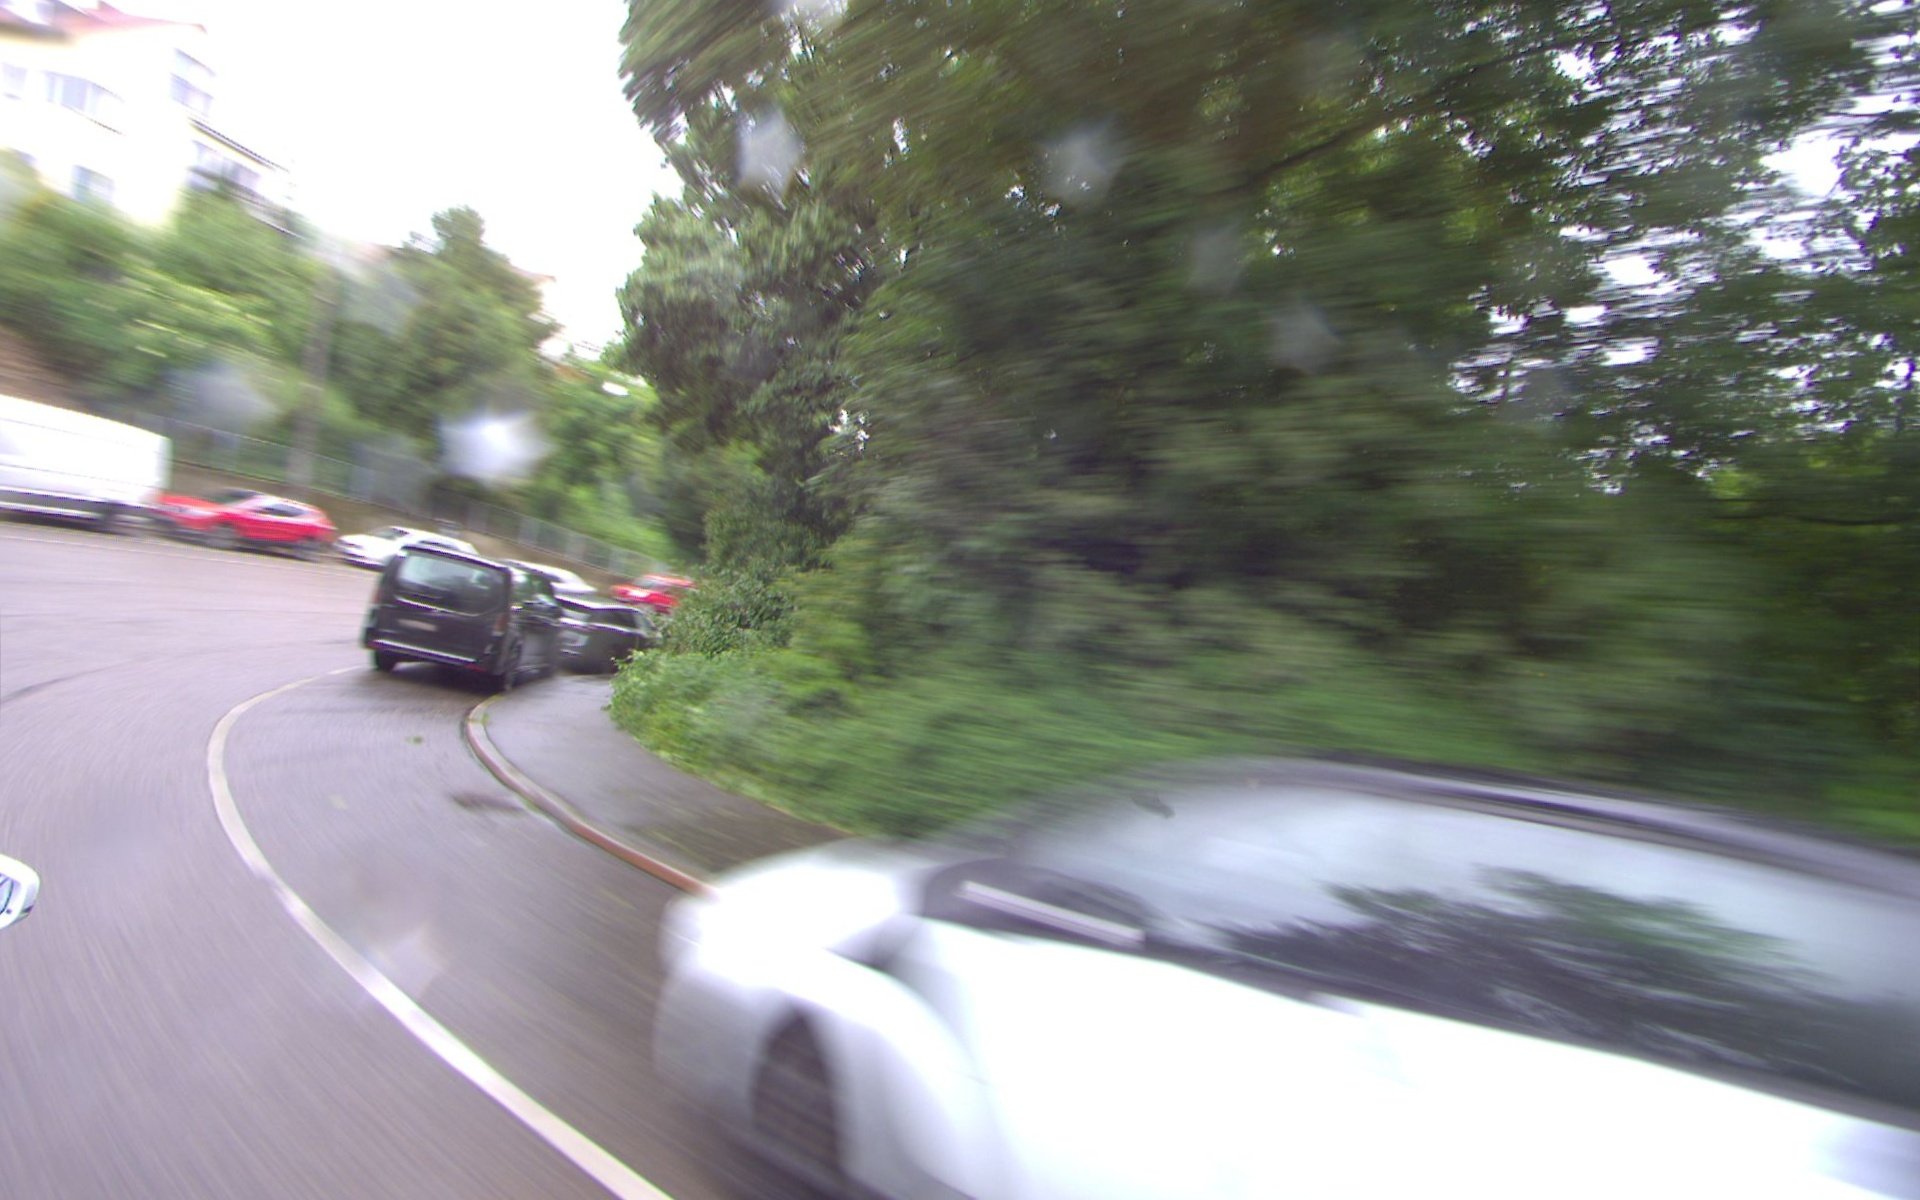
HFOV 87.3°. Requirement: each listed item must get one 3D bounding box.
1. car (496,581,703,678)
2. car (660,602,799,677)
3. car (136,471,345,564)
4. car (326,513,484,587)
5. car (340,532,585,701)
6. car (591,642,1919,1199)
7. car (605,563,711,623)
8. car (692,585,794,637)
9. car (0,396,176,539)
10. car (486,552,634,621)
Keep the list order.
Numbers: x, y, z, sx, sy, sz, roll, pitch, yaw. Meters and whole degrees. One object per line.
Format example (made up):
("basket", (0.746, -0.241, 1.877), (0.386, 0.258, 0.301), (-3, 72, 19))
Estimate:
("car", (-7.700, 0.687, 22.126), (1.872, 1.504, 4.880), (13, 0, 10))
("car", (-6.324, 1.154, 27.985), (1.603, 1.504, 3.747), (13, 0, 24))
("car", (-19.670, -2.184, 27.775), (1.748, 1.602, 4.439), (12, -1, 14))
("car", (-18.035, -1.579, 32.919), (1.712, 1.495, 4.202), (13, 0, 23))
("car", (-7.693, 0.223, 16.226), (1.971, 1.906, 5.026), (13, -2, -11))
("car", (0.973, 1.103, 2.687), (3.641, 1.462, 1.663), (5, -4, 32))
("car", (-12.918, -0.262, 43.280), (1.725, 1.786, 4.140), (10, -3, 28))
("car", (-10.196, 0.552, 47.637), (1.968, 1.637, 4.391), (11, -1, 34))
("car", (-20.636, -3.072, 21.346), (2.005, 2.558, 6.827), (12, -1, 2))
("car", (-12.930, -0.385, 32.811), (1.758, 1.399, 4.344), (12, -2, 24))
